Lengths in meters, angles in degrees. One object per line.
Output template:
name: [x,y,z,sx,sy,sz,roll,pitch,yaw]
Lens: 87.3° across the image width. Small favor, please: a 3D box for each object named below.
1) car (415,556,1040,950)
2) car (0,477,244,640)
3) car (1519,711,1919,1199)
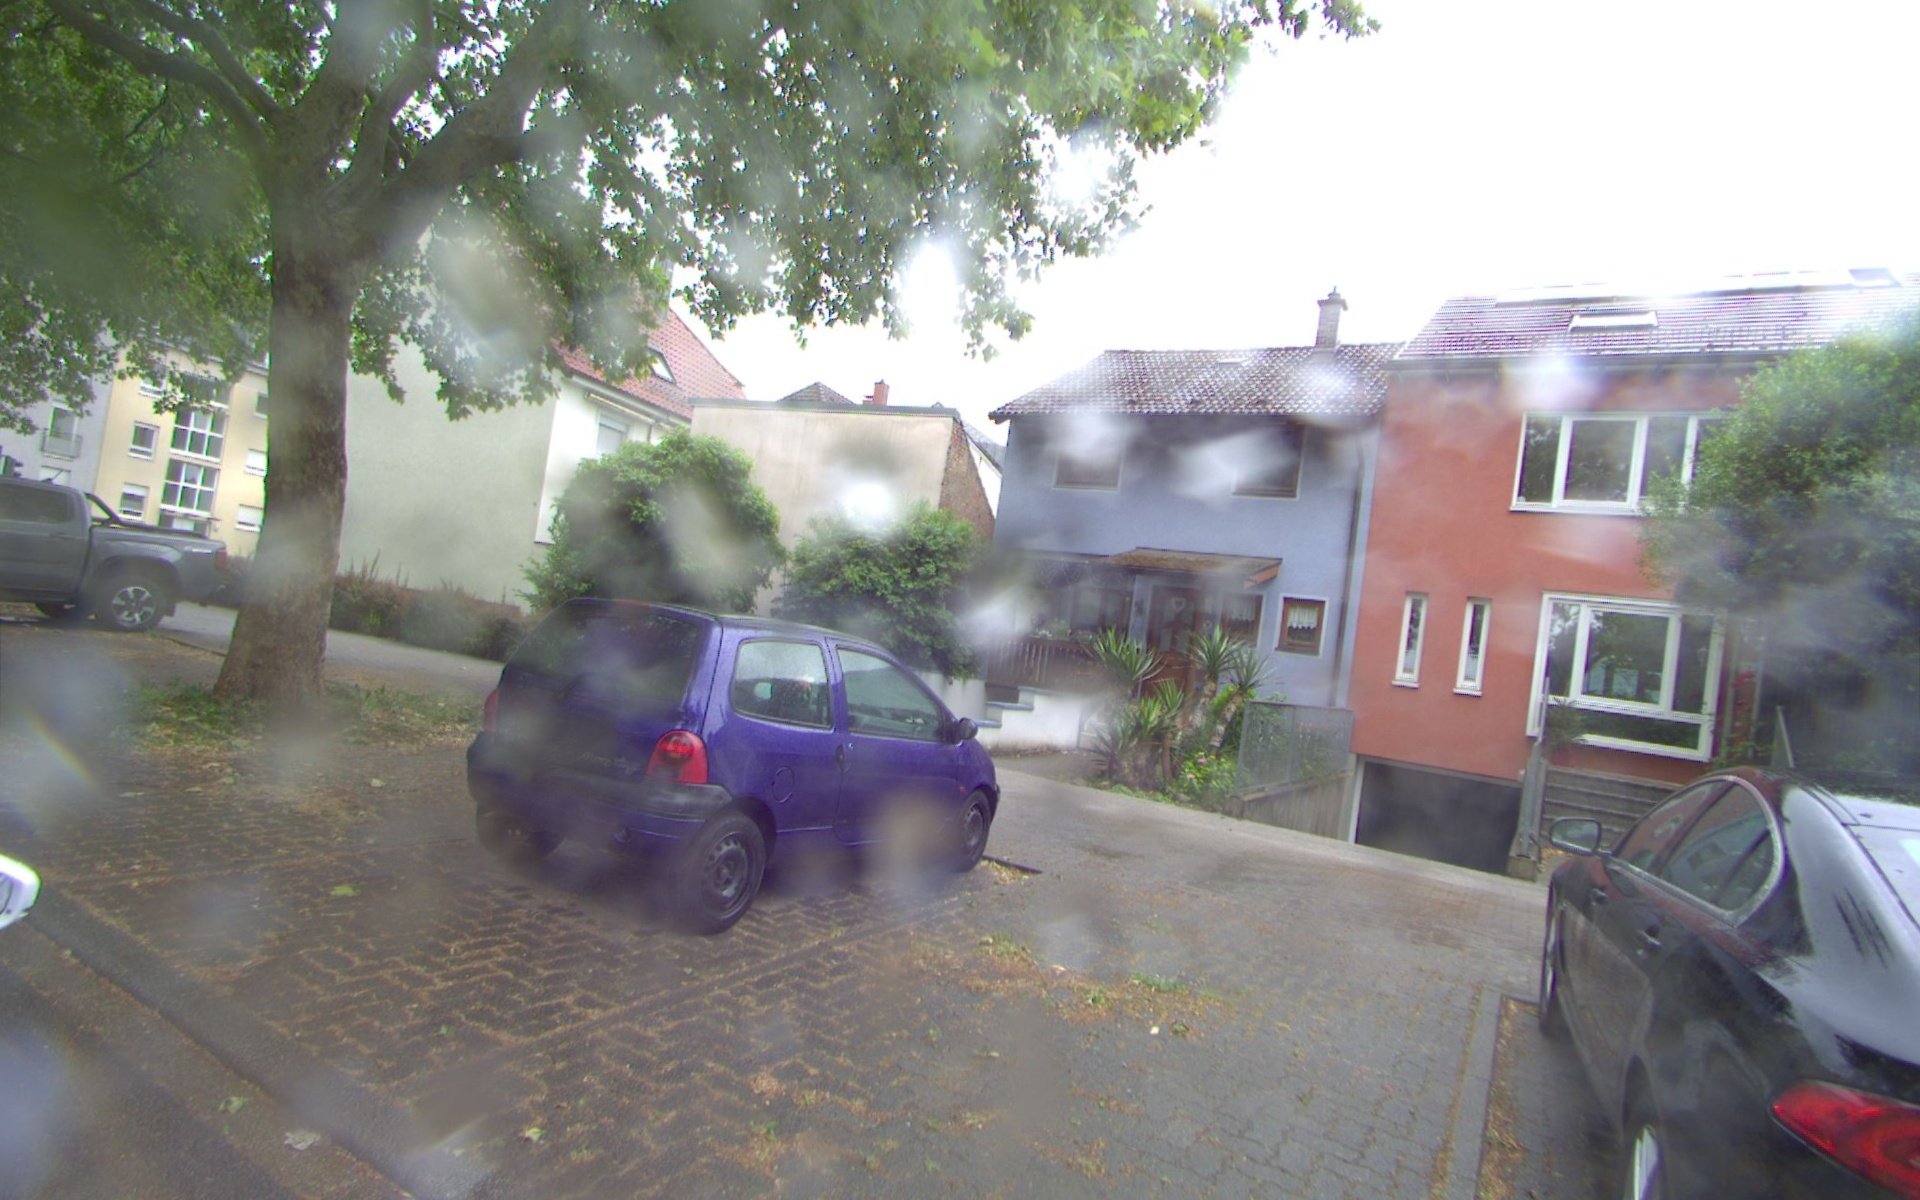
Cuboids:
car: [-1.043,0.785,5.944,1.591,1.480,3.364,7,-3,30]
car: [-12.358,-0.662,12.461,1.812,1.827,5.356,7,-2,25]
car: [2.971,1.234,2.987,1.903,1.489,4.781,7,-2,27]
